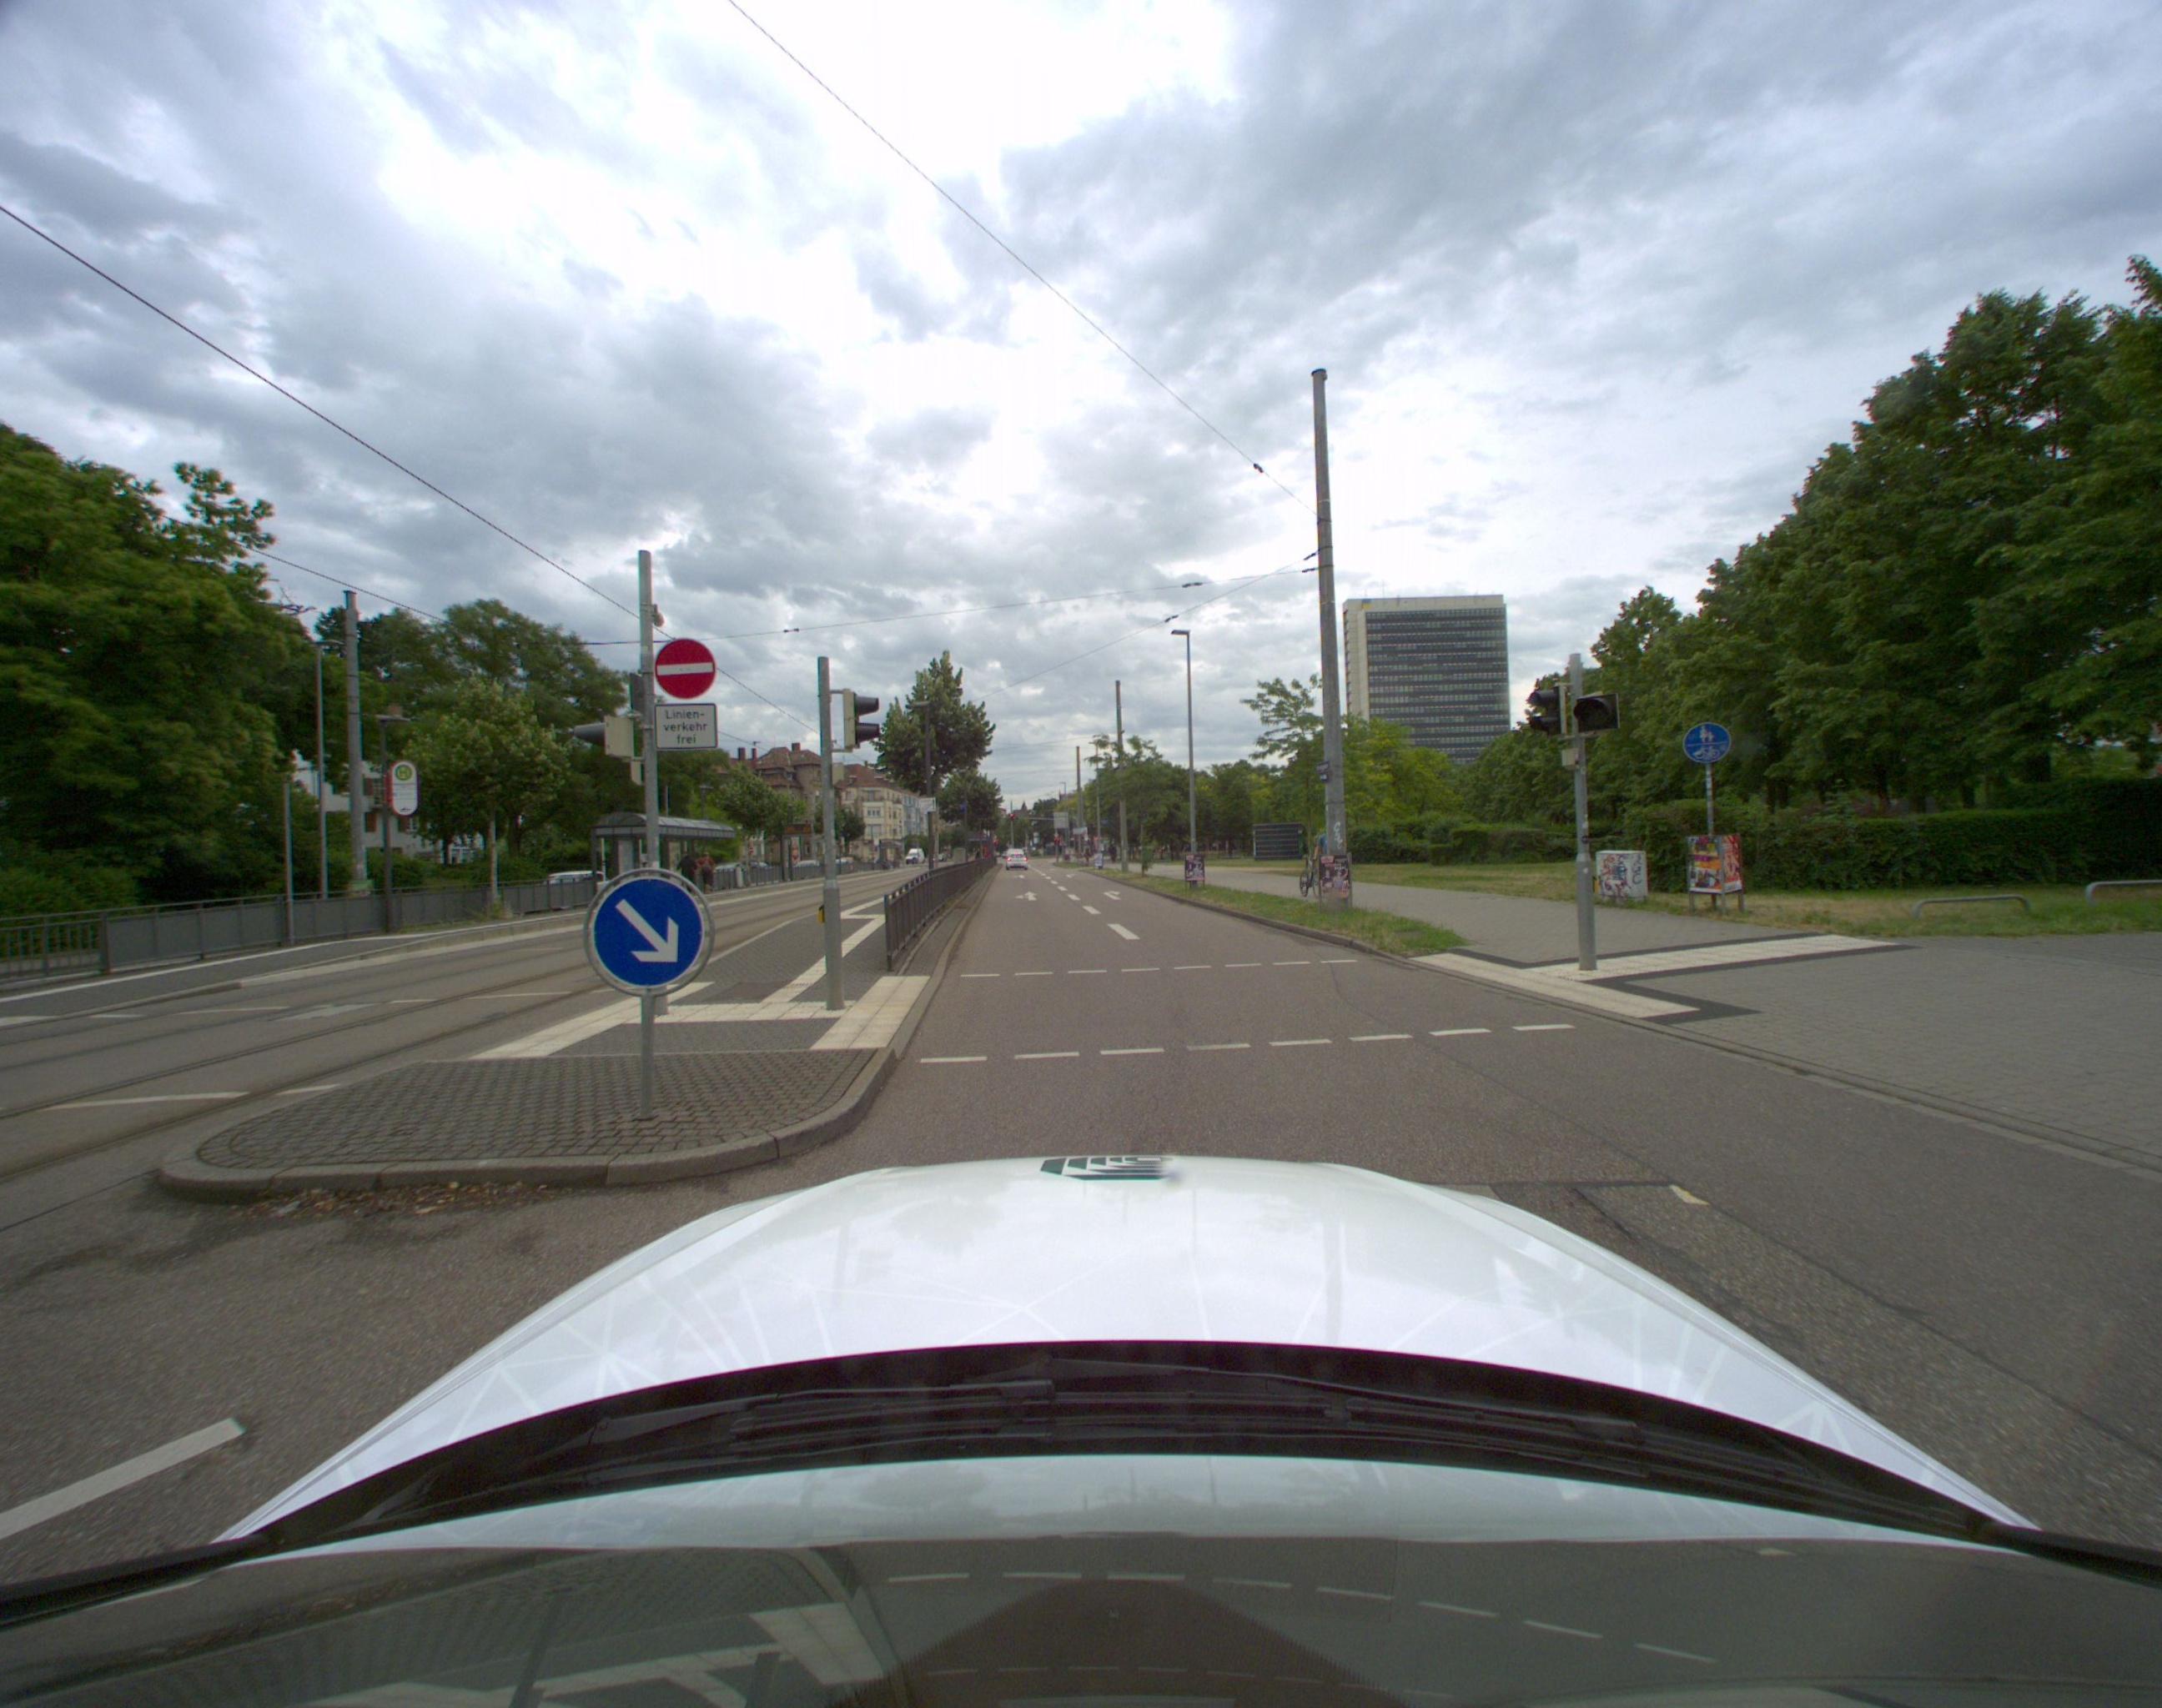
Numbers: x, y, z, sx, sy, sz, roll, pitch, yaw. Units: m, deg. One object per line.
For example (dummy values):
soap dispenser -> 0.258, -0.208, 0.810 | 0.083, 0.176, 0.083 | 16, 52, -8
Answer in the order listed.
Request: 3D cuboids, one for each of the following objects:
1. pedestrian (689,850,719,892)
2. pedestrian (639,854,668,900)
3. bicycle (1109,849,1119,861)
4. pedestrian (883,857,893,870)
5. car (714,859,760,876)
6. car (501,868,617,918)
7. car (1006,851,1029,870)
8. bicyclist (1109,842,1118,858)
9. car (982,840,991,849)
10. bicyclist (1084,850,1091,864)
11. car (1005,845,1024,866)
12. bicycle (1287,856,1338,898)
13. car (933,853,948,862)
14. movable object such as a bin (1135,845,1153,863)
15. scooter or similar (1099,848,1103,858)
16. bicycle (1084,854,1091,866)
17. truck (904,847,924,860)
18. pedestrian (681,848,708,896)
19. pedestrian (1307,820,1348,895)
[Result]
pedestrian -> -15.156, 0.672, 32.763 | 0.768, 1.660, 1.022 | -3, 0, -8
pedestrian -> -15.503, 0.822, 29.540 | 0.631, 1.624, 0.679 | -3, 0, -5
bicycle -> 3.098, 0.083, 77.054 | 0.678, 1.155, 1.894 | -3, 0, -5
pedestrian -> -19.996, 0.998, 84.385 | 0.864, 1.267, 0.692 | -3, 0, -8
car -> -34.408, 1.357, 81.533 | 3.868, 1.493, 1.773 | -2, 0, -6
car -> -18.234, 1.319, 28.650 | 1.767, 1.493, 3.880 | -2, 0, -5
car -> -5.229, 0.512, 67.747 | 1.779, 1.472, 4.005 | -2, 0, -3
bicyclist -> 3.075, -0.391, 77.069 | 0.678, 1.537, 0.671 | -3, 0, -6
car -> -20.768, -1.994, 179.760 | 1.767, 1.874, 3.880 | -2, 0, -5
bicyclist -> 0.660, 0.267, 83.135 | 0.677, 1.379, 0.728 | -3, 0, 1
car -> -6.453, 0.128, 78.811 | 1.780, 1.962, 4.374 | -2, 0, -6
bicycle -> 5.929, 0.568, 20.943 | 0.653, 1.003, 1.776 | -2, 0, -5
car -> -24.976, 0.542, 144.595 | 1.764, 1.493, 3.888 | -2, 0, 1
movable object such as a bin -> 5.336, 0.005, 68.823 | 1.280, 1.390, 1.157 | -2, 0, -5
scooter or similar -> 2.325, -0.078, 94.829 | 0.374, 1.141, 1.201 | -3, 0, 6
bicycle -> 0.690, 0.618, 83.129 | 0.676, 1.155, 1.898 | -3, 0, 1
truck -> -26.550, -0.041, 129.456 | 1.781, 2.032, 5.397 | -2, 0, 1
pedestrian -> -14.327, 0.658, 30.213 | 0.700, 1.715, 0.696 | -3, 0, -14
pedestrian -> 6.310, 0.087, 20.887 | 0.738, 1.869, 0.681 | -3, 0, -6
